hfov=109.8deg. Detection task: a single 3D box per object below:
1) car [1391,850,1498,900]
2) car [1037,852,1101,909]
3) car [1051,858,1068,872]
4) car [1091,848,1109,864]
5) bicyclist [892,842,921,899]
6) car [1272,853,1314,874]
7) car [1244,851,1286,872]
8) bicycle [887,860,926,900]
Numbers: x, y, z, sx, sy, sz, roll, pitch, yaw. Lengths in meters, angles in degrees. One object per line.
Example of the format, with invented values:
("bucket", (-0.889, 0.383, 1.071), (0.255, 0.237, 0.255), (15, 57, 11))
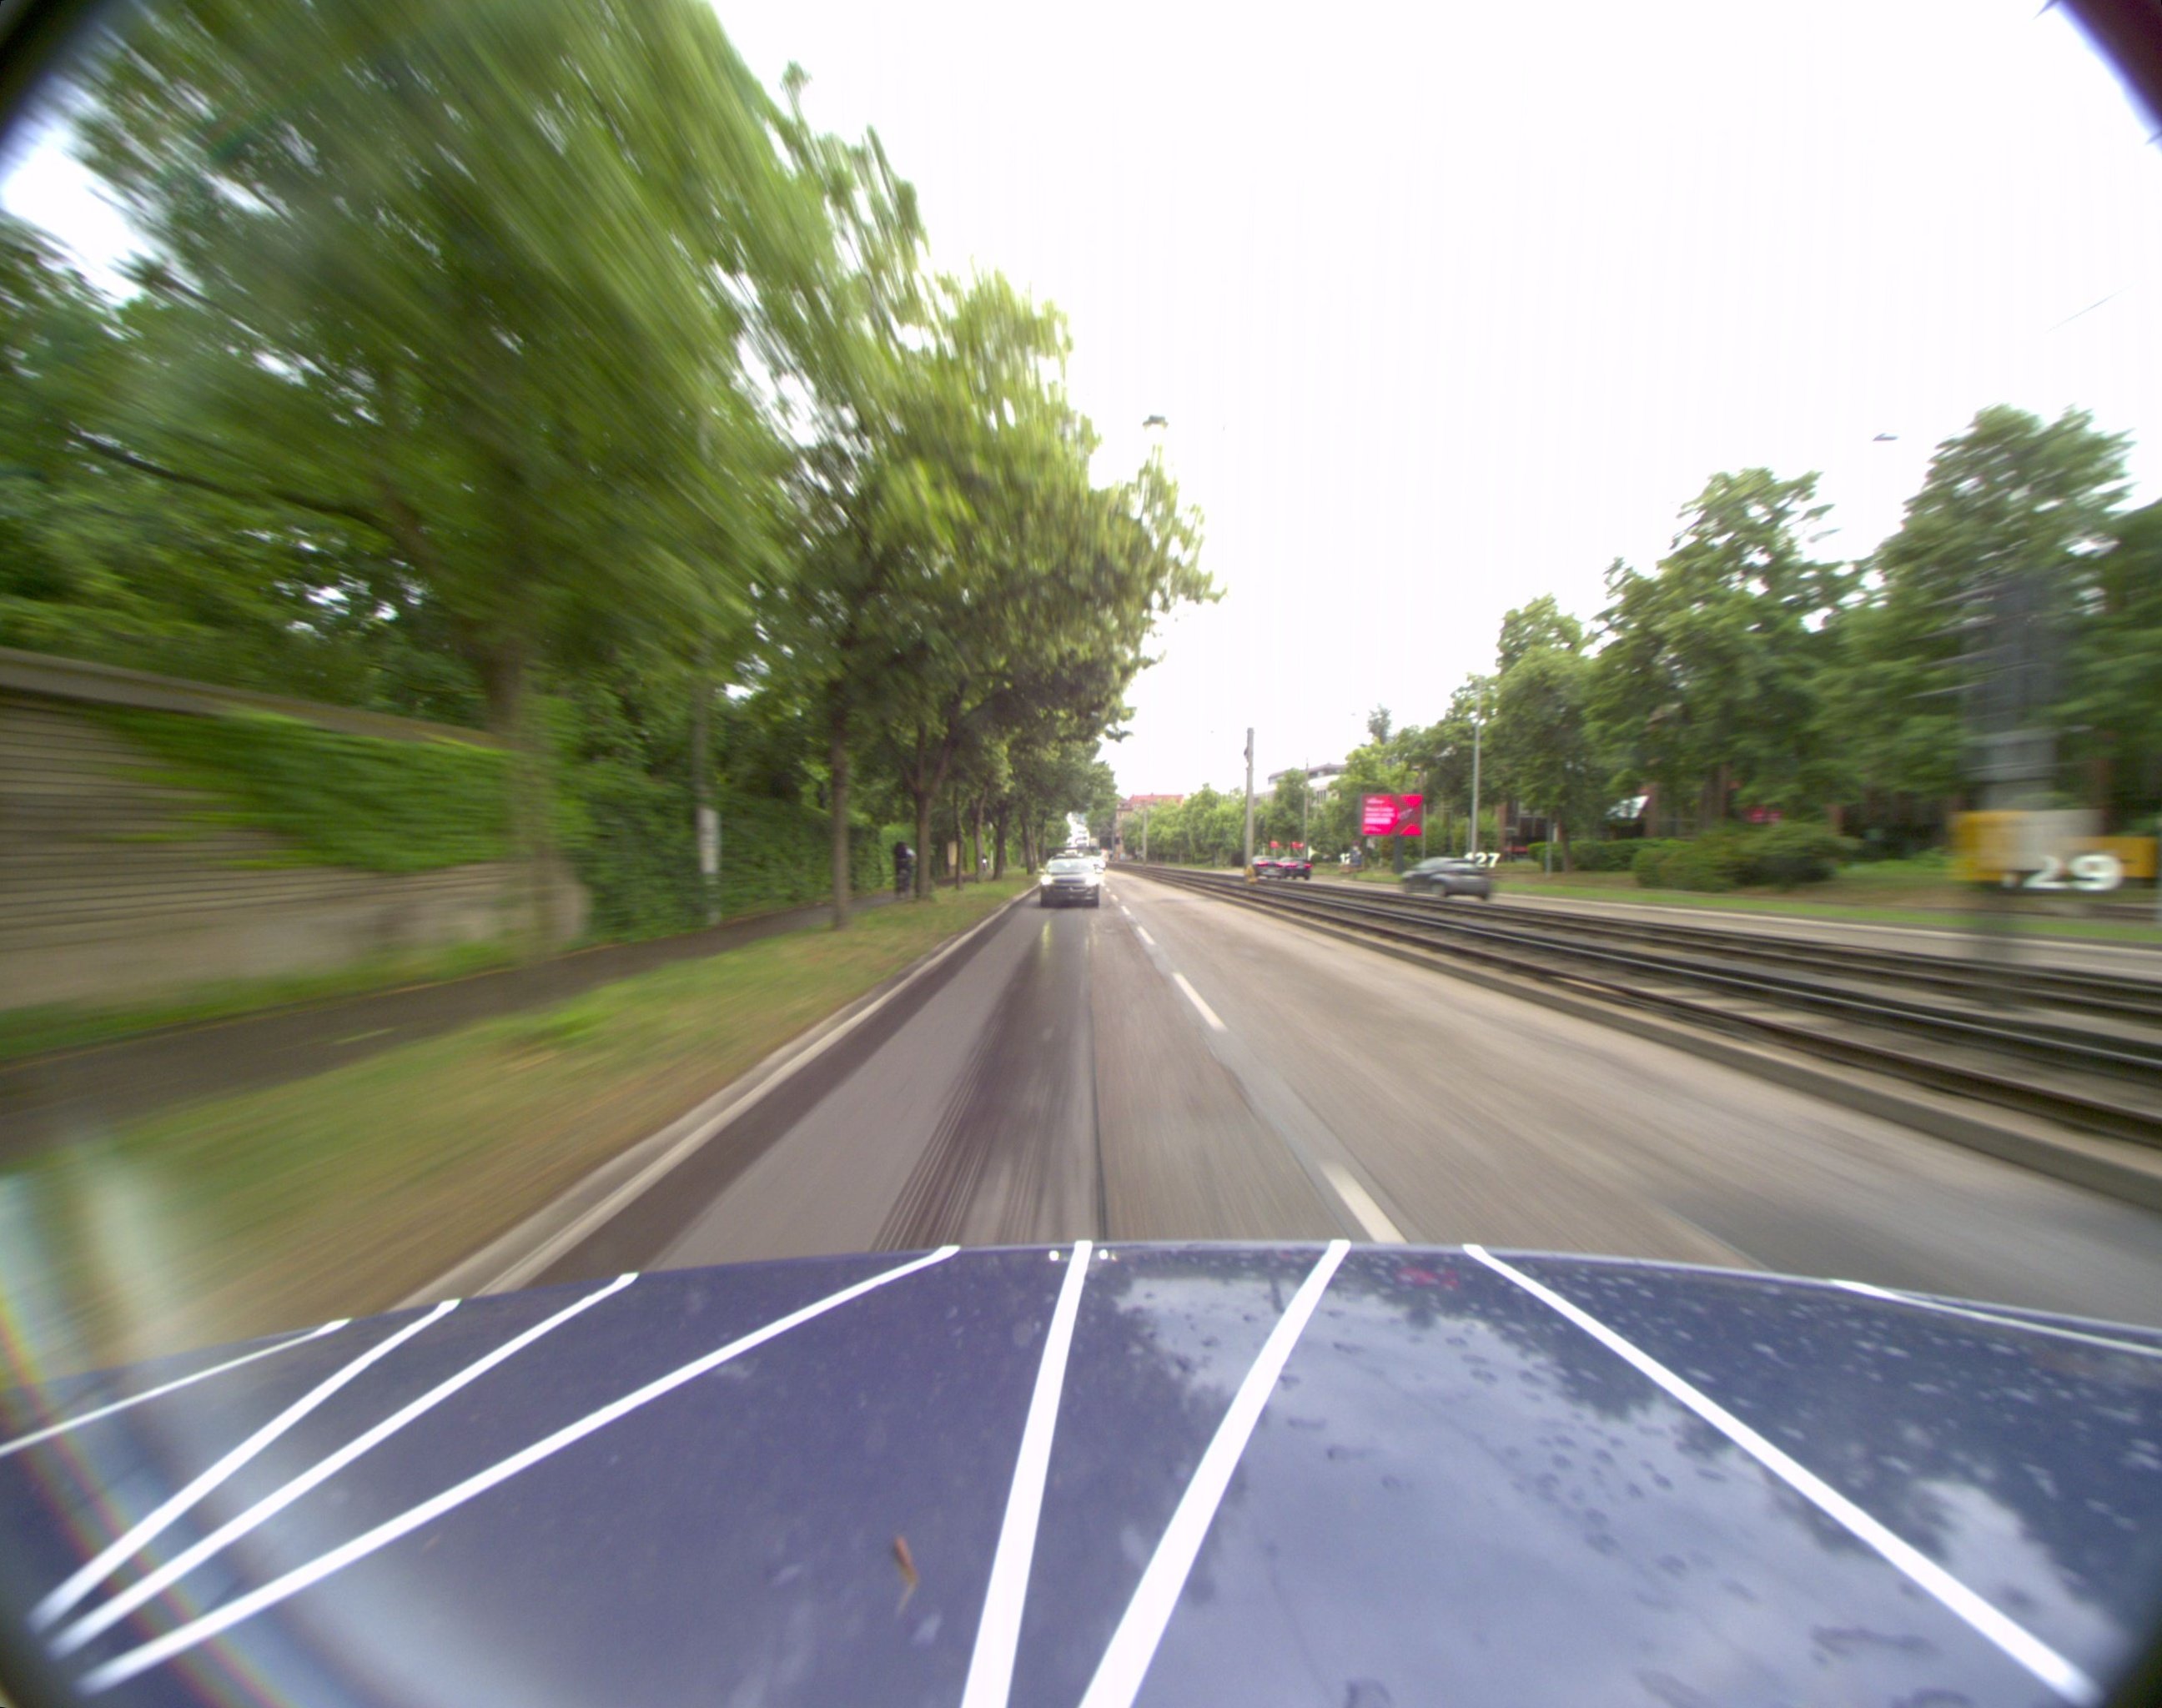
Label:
("car", (12.871, 0.683, 27.199), (1.692, 1.628, 4.340), (0, 1, -1))
("car", (-0.308, 0.730, 23.387), (1.746, 1.544, 4.493), (-1, 1, 1))
("car", (-2.528, 1.257, 88.764), (1.769, 1.503, 4.338), (0, 1, -4))
("car", (1.878, 0.188, 75.771), (1.769, 1.503, 4.341), (0, 1, 2))
("bicyclist", (-5.438, 0.502, 23.750), (0.692, 1.717, 0.894), (0, 1, 1))
("car", (15.458, 0.664, 55.518), (1.769, 1.503, 4.340), (0, 1, -1))
("car", (12.405, 0.473, 51.462), (1.692, 1.385, 4.340), (0, 1, -1))
("bicycle", (-5.431, 0.793, 23.773), (0.709, 1.143, 2.105), (0, 1, 1))
